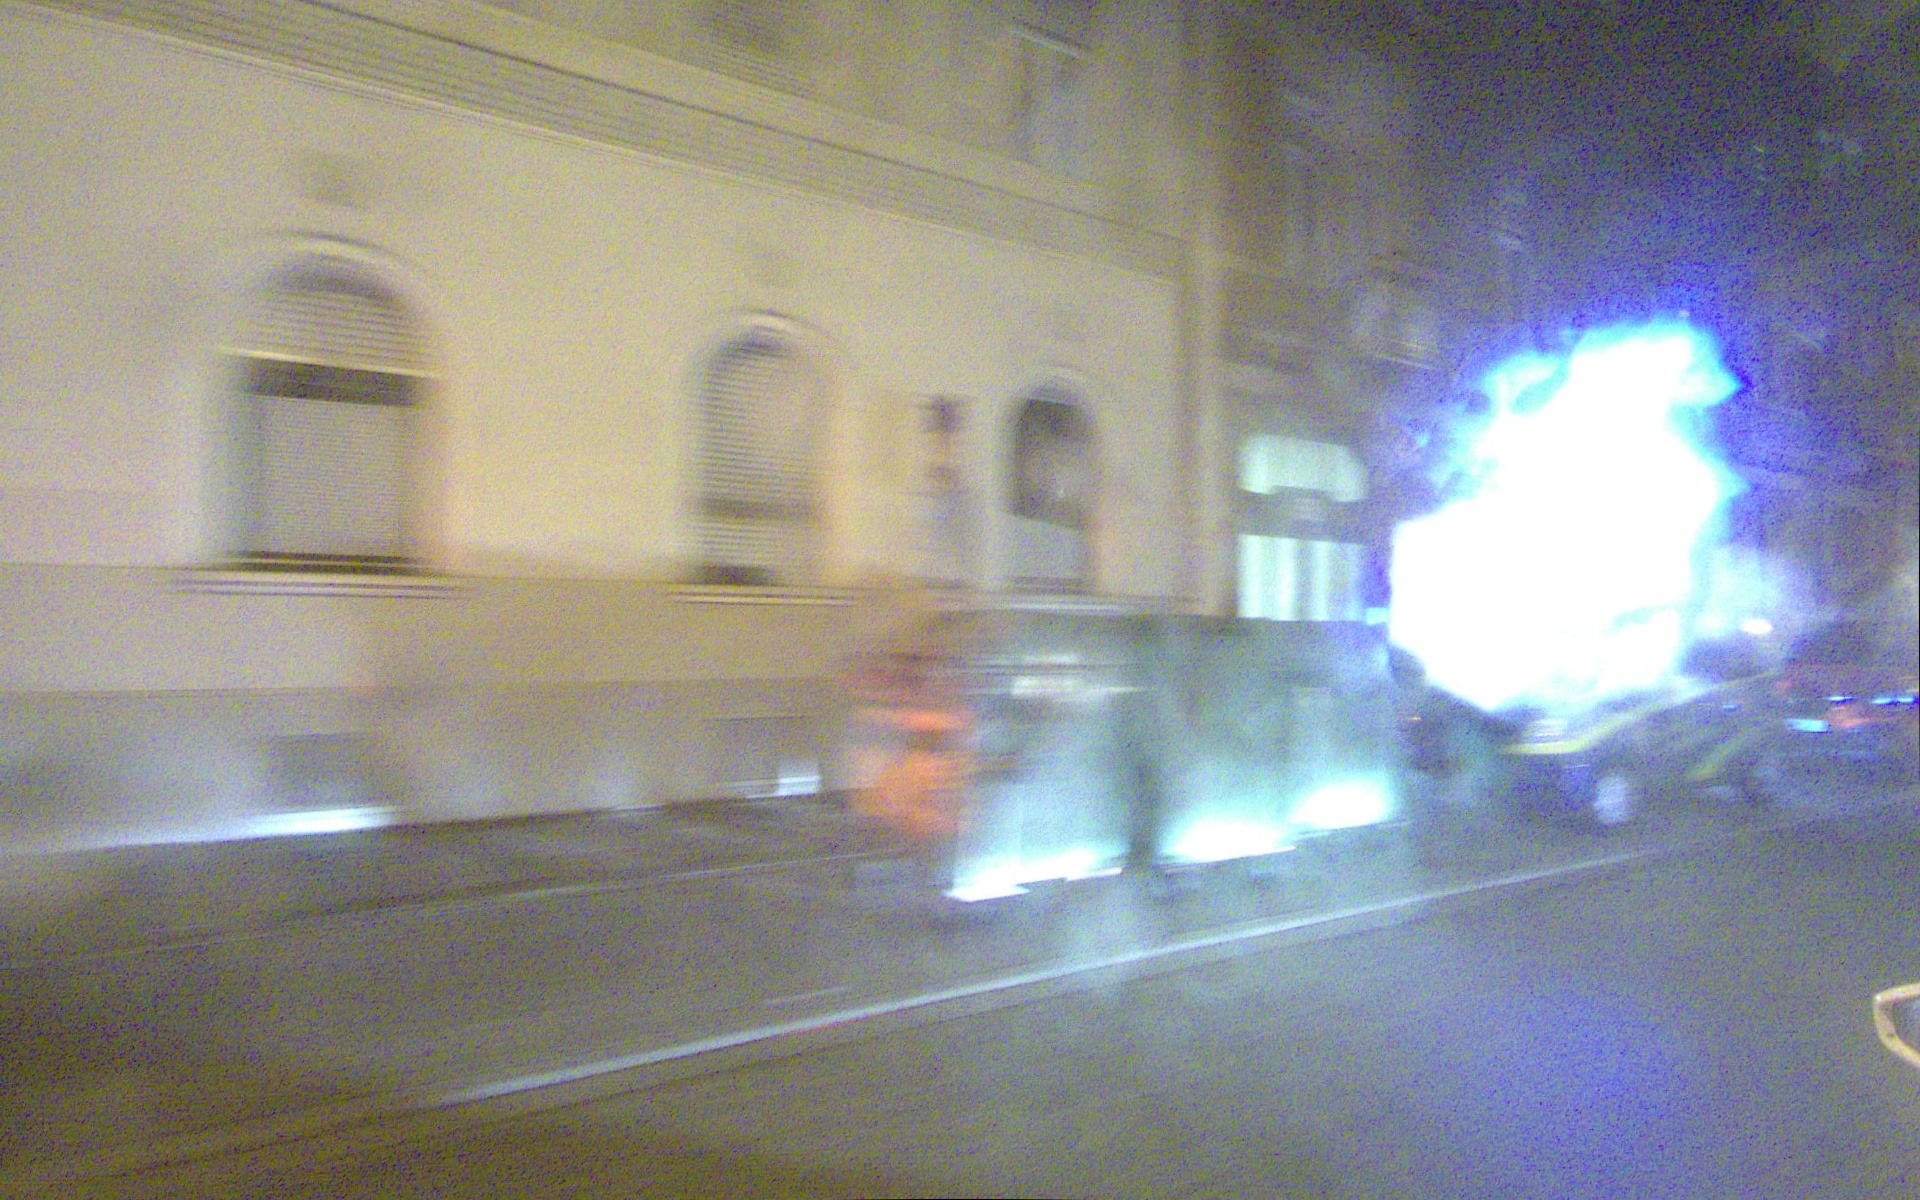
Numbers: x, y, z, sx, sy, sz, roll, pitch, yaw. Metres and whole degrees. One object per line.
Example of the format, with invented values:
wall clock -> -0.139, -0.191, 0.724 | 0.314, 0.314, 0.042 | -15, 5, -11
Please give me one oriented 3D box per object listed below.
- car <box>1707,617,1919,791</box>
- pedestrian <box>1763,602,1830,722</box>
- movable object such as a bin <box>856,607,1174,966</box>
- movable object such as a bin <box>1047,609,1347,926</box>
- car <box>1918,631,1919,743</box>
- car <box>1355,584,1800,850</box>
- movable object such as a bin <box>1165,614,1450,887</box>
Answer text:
car -> 10.014, 0.998, 10.975 | 3.979, 1.573, 1.595 | 1, 0, -31
pedestrian -> 12.909, 0.948, 15.503 | 0.543, 1.804, 0.636 | 1, -2, -30
movable object such as a bin -> 0.229, 0.797, 4.991 | 1.093, 1.479, 1.203 | 1, 0, -28
movable object such as a bin -> 1.263, 0.812, 5.523 | 1.093, 1.479, 1.160 | 1, 0, -28
car -> 14.850, 1.175, 13.591 | 4.266, 1.475, 1.678 | 1, 0, -31
car -> 5.094, 0.806, 8.183 | 3.678, 1.729, 1.595 | 1, -1, -31
movable object such as a bin -> 2.168, 0.854, 6.384 | 1.136, 1.479, 1.257 | 1, 0, -28
